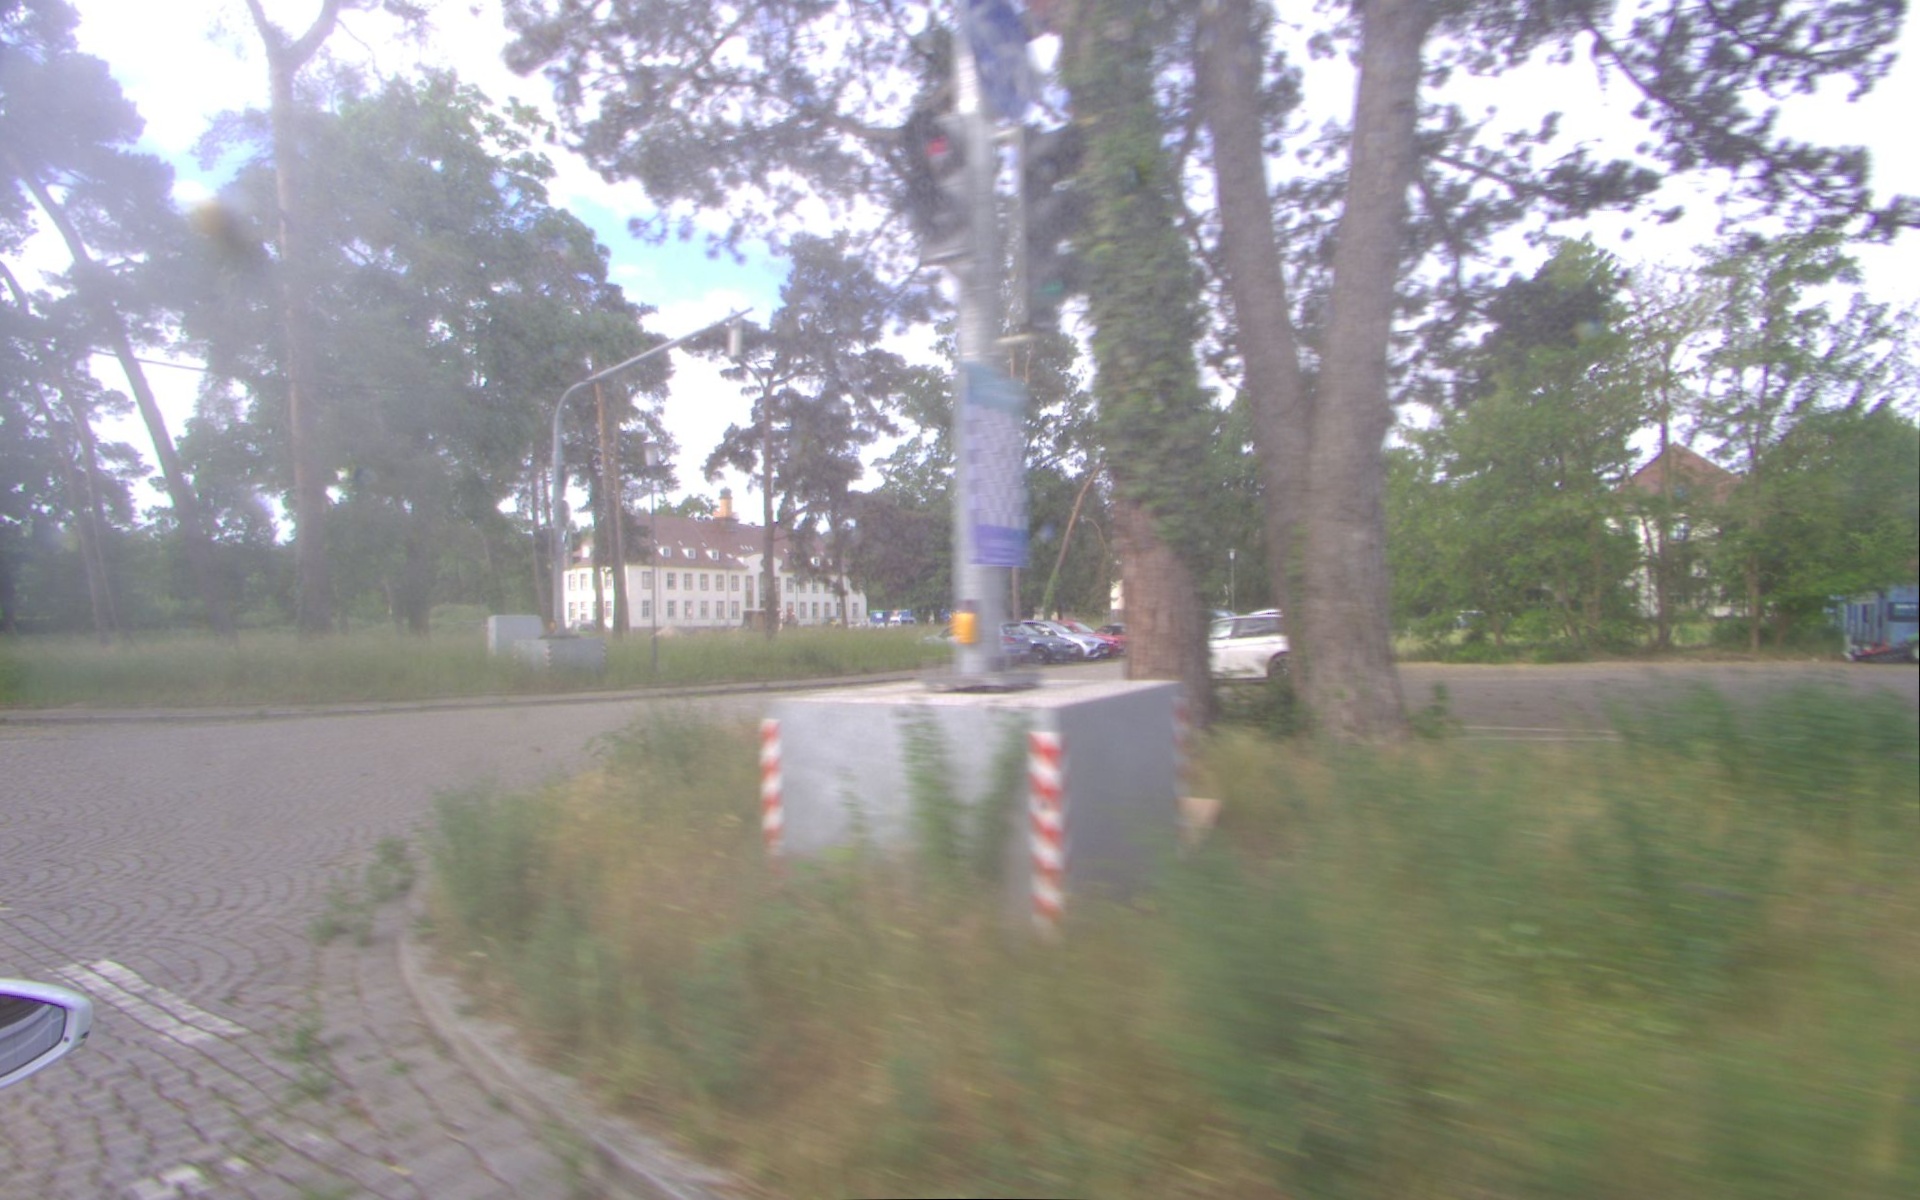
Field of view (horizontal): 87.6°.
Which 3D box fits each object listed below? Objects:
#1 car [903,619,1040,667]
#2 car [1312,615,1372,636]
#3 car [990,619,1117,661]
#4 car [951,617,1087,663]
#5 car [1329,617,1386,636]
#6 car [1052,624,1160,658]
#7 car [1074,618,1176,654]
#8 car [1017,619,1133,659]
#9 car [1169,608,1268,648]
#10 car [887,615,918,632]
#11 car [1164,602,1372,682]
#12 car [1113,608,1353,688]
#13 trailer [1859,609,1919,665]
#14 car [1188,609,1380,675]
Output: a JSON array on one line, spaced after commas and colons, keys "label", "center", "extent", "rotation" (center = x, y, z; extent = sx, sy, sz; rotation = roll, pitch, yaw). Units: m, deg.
[{"label": "car", "center": [0.346, 1.385, 33.237], "extent": [4.285, 1.489, 1.816], "rotation": [-1, -1, 35]}, {"label": "car", "center": [29.501, 1.961, 77.340], "extent": [4.026, 1.625, 1.778], "rotation": [-1, 0, 33]}, {"label": "car", "center": [3.477, 1.456, 37.496], "extent": [4.391, 1.474, 1.938], "rotation": [-1, -1, 35]}, {"label": "car", "center": [2.052, 1.371, 35.236], "extent": [4.449, 1.557, 1.862], "rotation": [-1, -1, 31]}, {"label": "car", "center": [32.210, 2.126, 81.145], "extent": [4.033, 1.486, 1.614], "rotation": [-1, 0, 38]}, {"label": "car", "center": [6.034, 1.653, 41.399], "extent": [4.088, 1.300, 1.753], "rotation": [-1, 0, 34]}, {"label": "car", "center": [7.200, 1.544, 43.830], "extent": [4.046, 1.500, 1.744], "rotation": [-1, 0, 35]}, {"label": "car", "center": [4.535, 1.514, 39.554], "extent": [4.209, 1.474, 1.844], "rotation": [-1, 0, 34]}, {"label": "car", "center": [13.590, 1.450, 52.766], "extent": [4.659, 2.006, 2.027], "rotation": [-1, 0, 33]}, {"label": "car", "center": [-7.709, 3.192, 135.265], "extent": [2.040, 2.121, 4.323], "rotation": [-2, -3, 33]}, {"label": "car", "center": [7.097, 0.994, 23.185], "extent": [4.279, 1.594, 1.820], "rotation": [-4, -3, 29]}, {"label": "car", "center": [5.694, 1.042, 21.041], "extent": [4.500, 1.443, 1.818], "rotation": [-4, -3, 31]}, {"label": "trailer", "center": [21.043, 0.806, 21.590], "extent": [2.287, 1.185, 1.138], "rotation": [0, -1, 33]}, {"label": "car", "center": [8.251, 1.090, 25.631], "extent": [4.321, 1.424, 1.786], "rotation": [-4, -2, 33]}]
